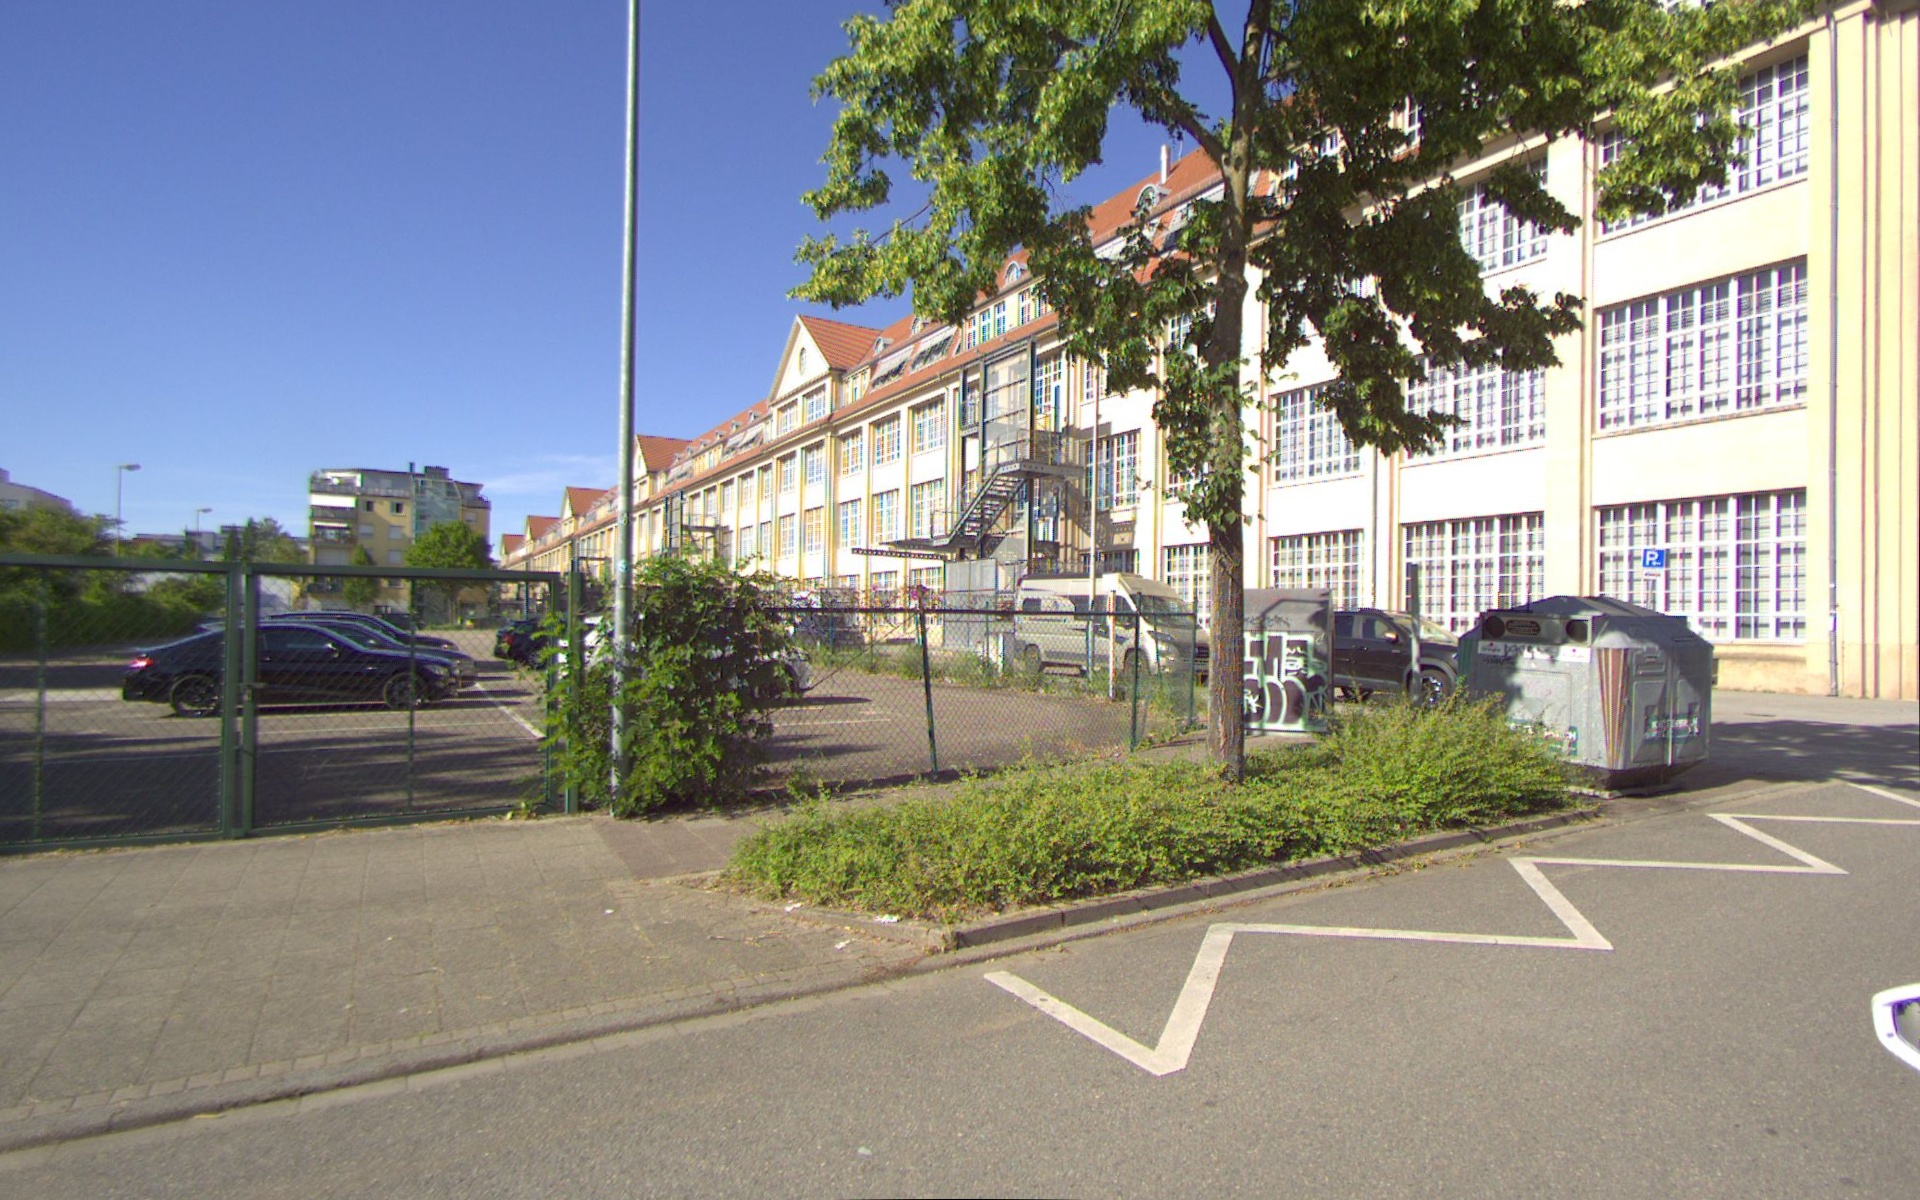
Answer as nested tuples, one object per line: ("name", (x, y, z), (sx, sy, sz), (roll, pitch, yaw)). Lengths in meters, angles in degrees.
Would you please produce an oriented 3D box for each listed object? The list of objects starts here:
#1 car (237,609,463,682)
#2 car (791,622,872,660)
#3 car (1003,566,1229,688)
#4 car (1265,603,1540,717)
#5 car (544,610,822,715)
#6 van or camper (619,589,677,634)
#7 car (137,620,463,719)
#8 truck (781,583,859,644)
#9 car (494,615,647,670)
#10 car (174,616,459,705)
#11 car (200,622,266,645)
("car", (-14.059, 1.034, 23.480), (4.319, 1.580, 1.959), (1, -1, -28))
("car", (-5.253, 1.611, 40.495), (1.829, 1.444, 4.193), (1, -2, -29))
("car", (3.613, 0.648, 24.864), (2.139, 2.631, 6.236), (2, -2, -29))
("car", (7.551, 0.970, 17.545), (1.975, 1.718, 4.074), (2, -2, -28))
("car", (-4.826, 1.038, 17.554), (4.370, 1.631, 1.986), (1, -1, -28))
("van or camper", (-21.601, 0.782, 69.399), (2.693, 2.895, 5.092), (2, -1, -31))
("car", (-10.766, 1.101, 16.839), (4.319, 1.475, 1.959), (1, -1, -28))
("truck", (-8.678, 0.791, 61.616), (2.469, 3.476, 7.077), (2, -1, -27))
("car", (-11.858, 1.277, 30.613), (4.189, 1.580, 1.884), (1, -1, -28))
("car", (-11.881, 1.085, 18.963), (4.319, 1.515, 1.959), (1, -1, -28))
("car", (-56.945, 2.624, 78.769), (3.953, 1.639, 1.984), (2, -1, -30))
